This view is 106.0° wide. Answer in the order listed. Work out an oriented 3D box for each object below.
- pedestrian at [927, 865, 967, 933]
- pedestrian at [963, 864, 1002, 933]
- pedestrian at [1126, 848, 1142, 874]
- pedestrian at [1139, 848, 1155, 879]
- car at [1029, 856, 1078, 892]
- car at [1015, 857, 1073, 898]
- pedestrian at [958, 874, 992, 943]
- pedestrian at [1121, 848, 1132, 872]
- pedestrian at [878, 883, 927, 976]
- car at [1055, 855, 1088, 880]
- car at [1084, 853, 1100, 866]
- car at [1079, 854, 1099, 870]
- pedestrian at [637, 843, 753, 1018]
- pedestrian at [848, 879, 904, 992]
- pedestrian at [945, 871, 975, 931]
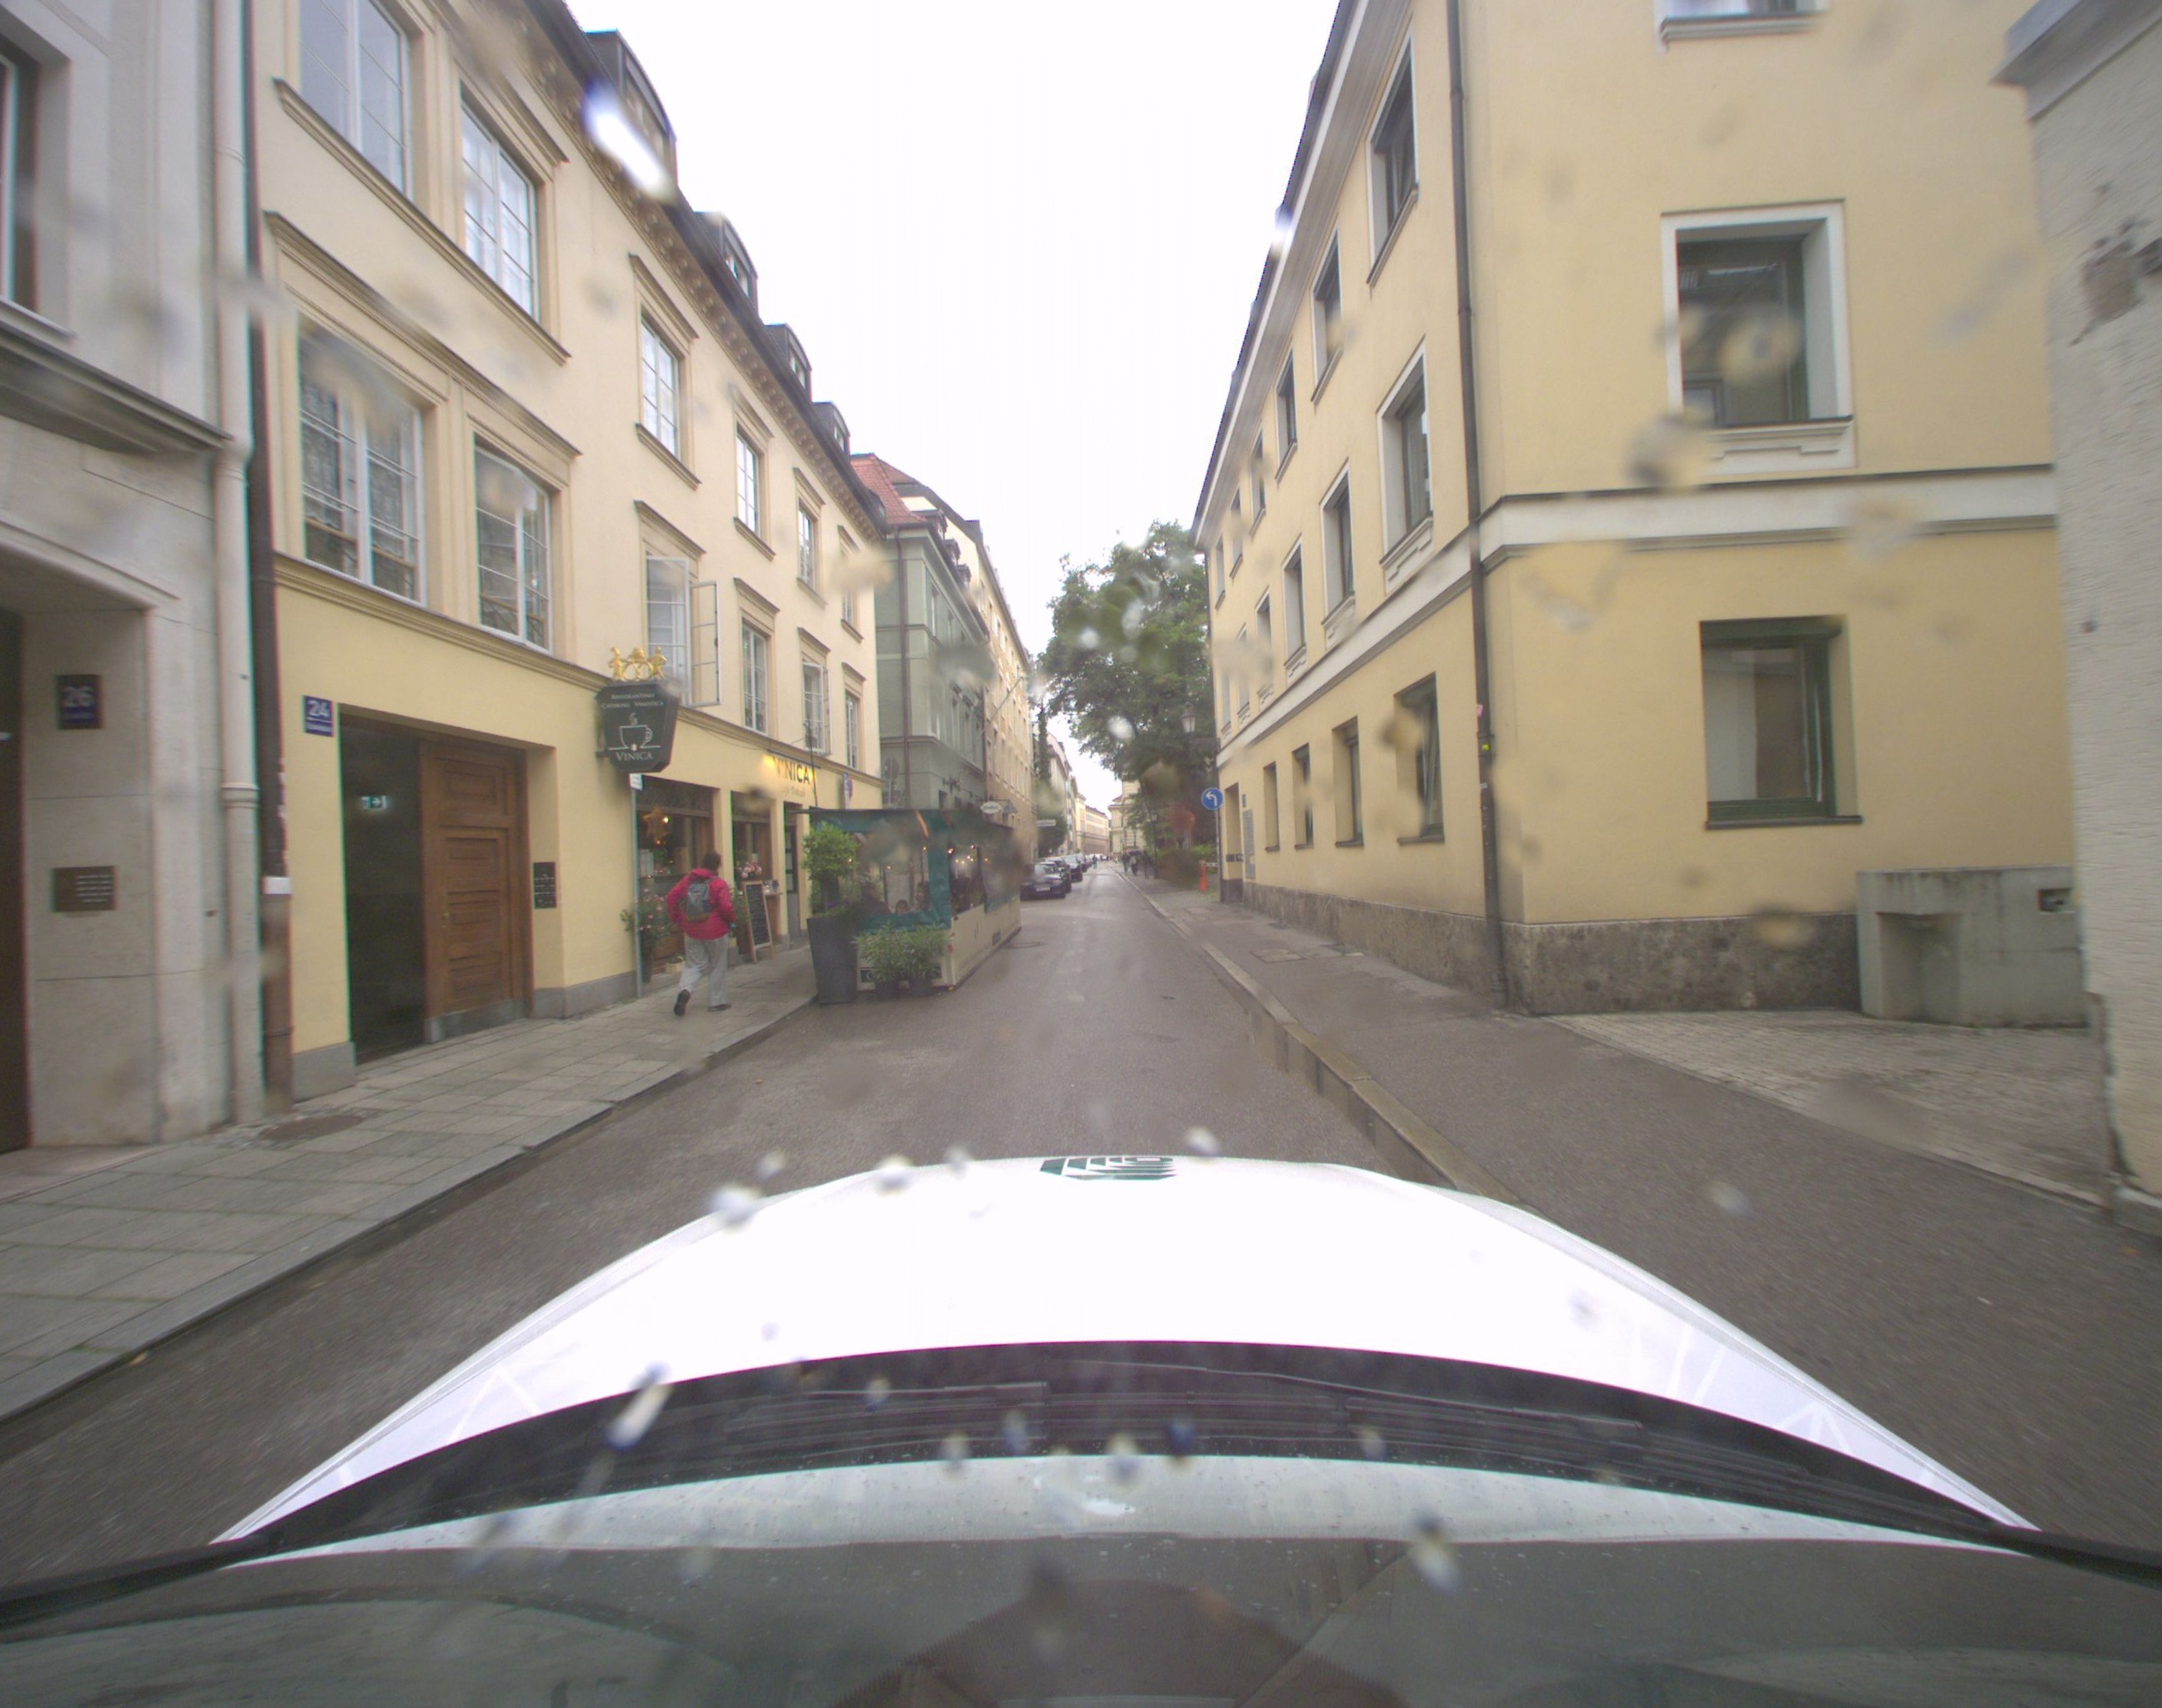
[{"bbox_3d":[-2.710,0.898,16.510,0.671,1.326,0.696,-1,0,-1],"label":"pedestrian"},{"bbox_3d":[-1.965,0.883,16.376,0.671,1.326,0.696,-1,0,-1],"label":"pedestrian"},{"bbox_3d":[3.689,0.502,57.024,1.012,1.802,1.350,-1,0,2],"label":"pedestrian"},{"bbox_3d":[3.900,0.568,48.135,0.877,1.802,1.047,-1,0,2],"label":"pedestrian"},{"bbox_3d":[-1.188,0.854,36.248,1.771,1.466,3.546,-1,0,4],"label":"car"},{"bbox_3d":[-1.385,0.875,31.737,1.771,1.466,3.667,-1,0,4],"label":"car"},{"bbox_3d":[-1.889,0.959,14.545,0.508,1.175,0.630,-1,0,-1],"label":"pedestrian"},{"bbox_3d":[3.436,0.454,61.504,0.790,1.802,0.903,-1,0,2],"label":"pedestrian"},{"bbox_3d":[-2.418,1.007,11.083,0.508,1.187,0.630,-1,0,-1],"label":"pedestrian"},{"bbox_3d":[-0.579,0.798,51.202,1.771,1.466,3.546,-1,0,4],"label":"car"},{"bbox_3d":[1.382,0.651,99.421,1.771,1.466,3.546,-1,0,4],"label":"car"},{"bbox_3d":[0.792,0.780,80.922,1.771,1.466,3.546,-1,0,4],"label":"car"},{"bbox_3d":[-4.011,0.762,8.521,0.763,1.708,0.785,-2,0,-1],"label":"pedestrian"},{"bbox_3d":[-2.518,0.985,10.069,0.508,1.326,0.630,-1,0,-1],"label":"pedestrian"},{"bbox_3d":[-2.576,0.988,17.386,0.508,1.237,0.630,-1,0,-1],"label":"pedestrian"}]
